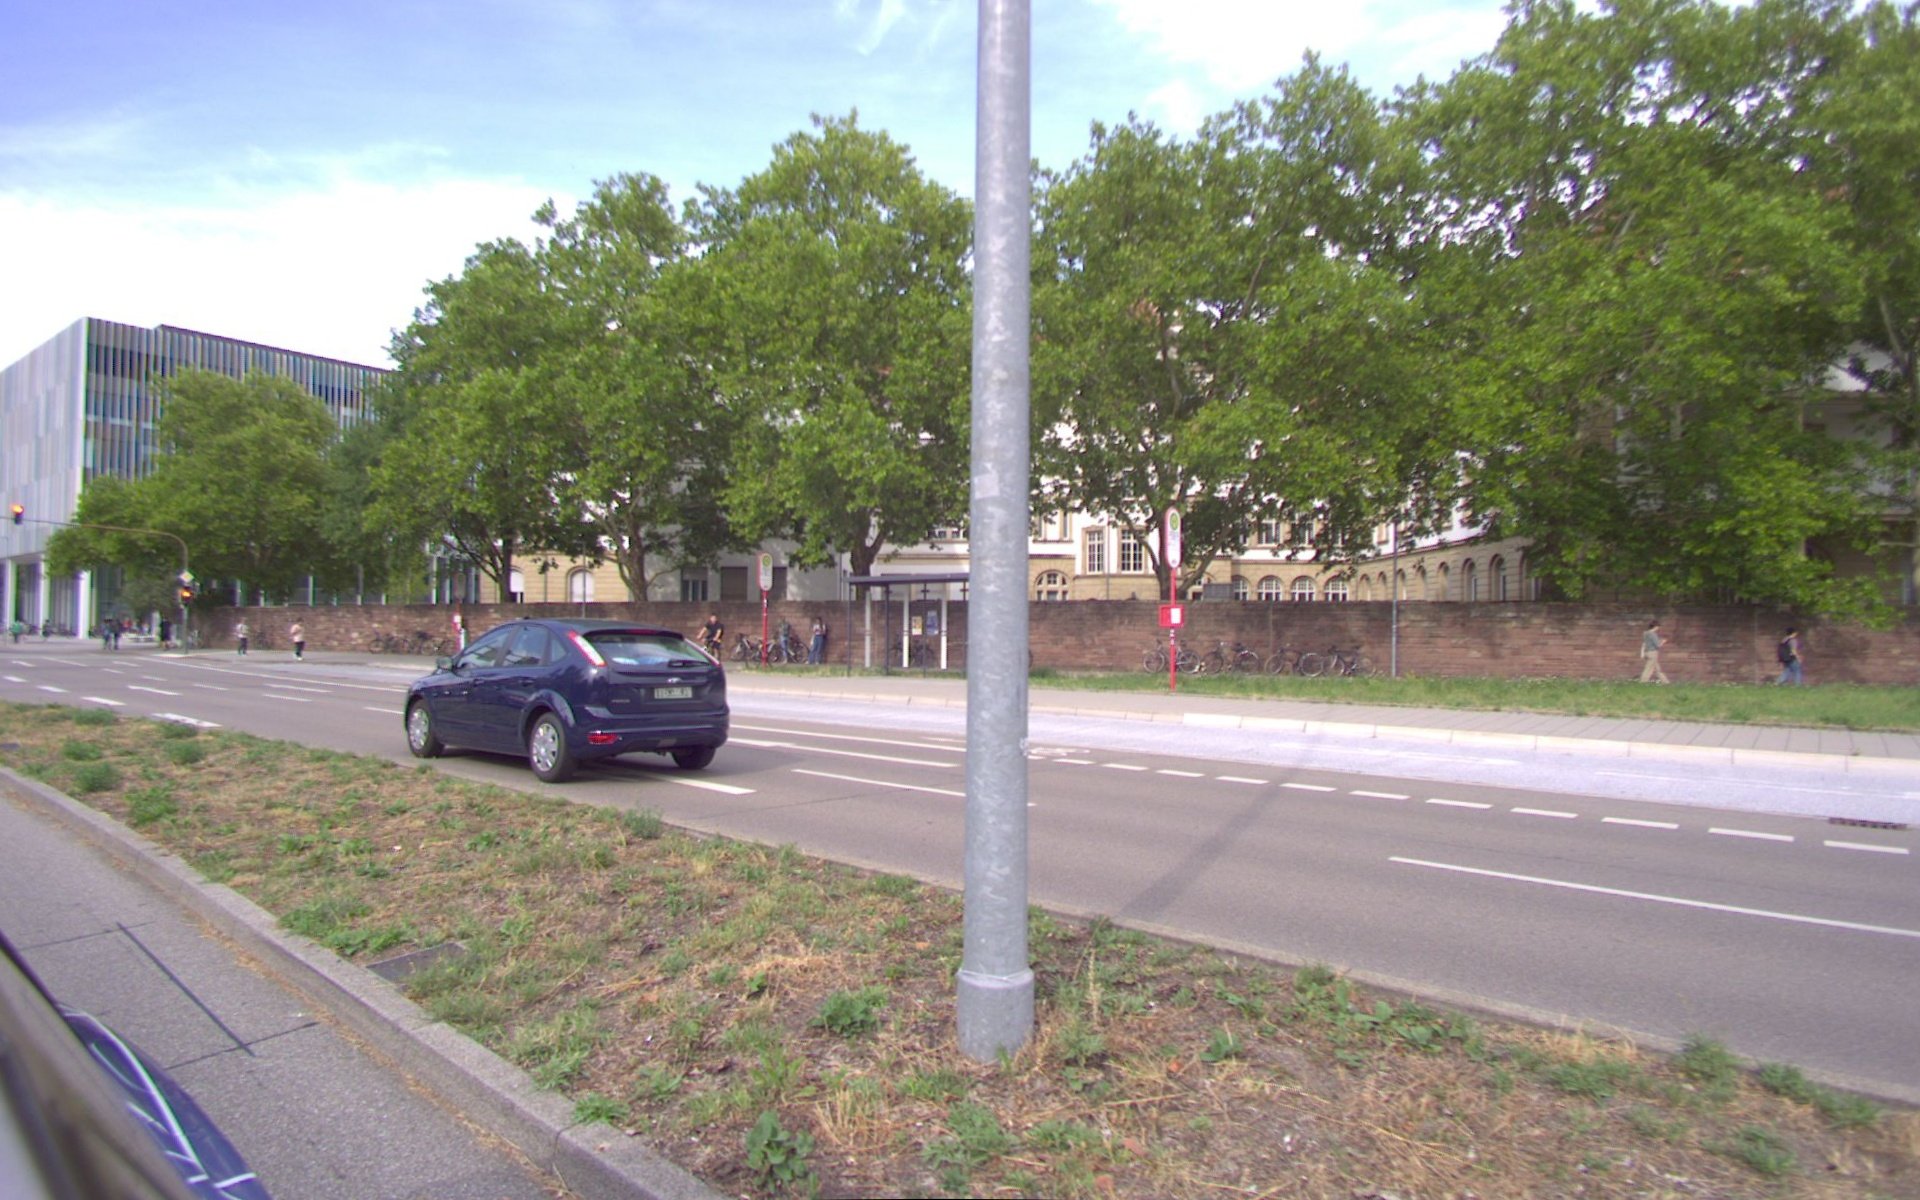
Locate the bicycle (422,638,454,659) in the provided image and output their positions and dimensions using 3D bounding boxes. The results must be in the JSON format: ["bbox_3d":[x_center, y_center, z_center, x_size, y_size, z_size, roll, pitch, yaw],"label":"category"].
[{"bbox_3d":[-22.498,2.081,43.590,1.570,0.894,0.429,-1,1,30],"label":"bicycle"}]

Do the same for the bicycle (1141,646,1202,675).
[{"bbox_3d":[6.517,1.879,31.235,1.807,0.871,0.356,-1,-4,18],"label":"bicycle"}]

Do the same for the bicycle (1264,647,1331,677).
[{"bbox_3d":[9.987,1.839,29.957,1.878,0.871,0.356,-1,-4,22],"label":"bicycle"}]

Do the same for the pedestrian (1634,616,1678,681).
[{"bbox_3d":[18.320,1.264,26.645,0.769,1.667,0.579,-1,0,-12],"label":"pedestrian"}]

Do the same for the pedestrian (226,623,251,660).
[{"bbox_3d":[-32.320,1.856,45.347,0.664,1.634,0.746,-1,0,35],"label":"pedestrian"}]

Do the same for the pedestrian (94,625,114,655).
[{"bbox_3d":[-48.358,2.248,57.167,0.664,1.634,0.746,-1,0,35],"label":"pedestrian"}]

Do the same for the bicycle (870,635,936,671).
[{"bbox_3d":[-1.898,1.780,33.951,2.082,1.198,0.754,-1,-4,19],"label":"bicycle"}]

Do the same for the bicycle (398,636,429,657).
[{"bbox_3d":[-24.233,2.063,44.859,1.570,0.894,0.429,-1,1,30],"label":"bicycle"}]

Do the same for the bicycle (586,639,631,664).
[{"bbox_3d":[-13.483,1.966,38.870,1.565,0.894,0.657,-1,1,21],"label":"bicycle"}]

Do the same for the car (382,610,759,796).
[{"bbox_3d":[-4.059,0.903,10.233,4.127,1.501,1.766,-1,-4,41],"label":"car"}]

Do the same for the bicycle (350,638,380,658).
[{"bbox_3d":[-27.375,2.193,46.567,1.570,0.894,0.429,-1,1,30],"label":"bicycle"}]

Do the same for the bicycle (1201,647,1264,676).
[{"bbox_3d":[8.248,1.859,30.641,1.796,0.871,0.356,-1,-4,21],"label":"bicycle"}]

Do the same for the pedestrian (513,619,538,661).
[{"bbox_3d":[-17.525,1.597,40.819,0.656,1.634,0.755,-1,0,0],"label":"pedestrian"}]

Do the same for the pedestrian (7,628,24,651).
[{"bbox_3d":[-68.316,2.852,73.187,0.664,1.634,0.746,-1,0,35],"label":"pedestrian"}]

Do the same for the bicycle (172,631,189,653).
[{"bbox_3d":[-45.054,2.435,58.491,1.395,1.218,0.506,-1,0,41],"label":"bicycle"}]

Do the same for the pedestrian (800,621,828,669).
[{"bbox_3d":[-5.066,1.548,35.118,0.749,1.634,0.565,-1,0,19],"label":"pedestrian"}]

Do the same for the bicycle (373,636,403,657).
[{"bbox_3d":[-25.789,2.081,45.609,1.570,0.894,0.429,-1,1,30],"label":"bicycle"}]

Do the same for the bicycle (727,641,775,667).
[{"bbox_3d":[-7.475,1.924,36.153,1.565,0.894,0.657,-1,1,21],"label":"bicycle"}]

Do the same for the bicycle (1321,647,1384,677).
[{"bbox_3d":[11.578,1.819,29.879,1.693,0.871,0.357,0,-4,15],"label":"bicycle"}]

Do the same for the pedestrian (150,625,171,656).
[{"bbox_3d":[-43.079,2.159,54.545,0.664,1.634,0.746,-1,0,35],"label":"pedestrian"}]

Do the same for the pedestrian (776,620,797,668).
[{"bbox_3d":[-6.032,1.515,35.207,0.481,1.634,0.565,-1,0,18],"label":"pedestrian"}]

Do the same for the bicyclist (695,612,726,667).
[{"bbox_3d":[-7.344,1.139,29.749,0.570,1.567,0.800,1,0,-38],"label":"bicyclist"}]

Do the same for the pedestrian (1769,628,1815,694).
[{"bbox_3d":[21.601,1.571,26.271,0.768,1.667,0.579,-1,0,-19],"label":"pedestrian"}]

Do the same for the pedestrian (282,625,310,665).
[{"bbox_3d":[-27.299,1.843,41.606,0.664,1.634,0.746,-1,0,35],"label":"pedestrian"}]

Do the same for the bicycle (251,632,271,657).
[{"bbox_3d":[-35.893,2.276,51.975,1.395,1.218,0.506,-1,0,41],"label":"bicycle"}]

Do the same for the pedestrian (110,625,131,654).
[{"bbox_3d":[-48.108,2.244,57.990,0.664,1.634,0.746,-1,0,35],"label":"pedestrian"}]

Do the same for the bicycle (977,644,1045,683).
[{"bbox_3d":[1.639,2.040,32.543,2.082,1.198,0.754,-1,-4,19],"label":"bicycle"}]

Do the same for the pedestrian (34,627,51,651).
[{"bbox_3d":[-64.501,2.744,71.168,0.664,1.634,0.746,-1,0,35],"label":"pedestrian"}]
